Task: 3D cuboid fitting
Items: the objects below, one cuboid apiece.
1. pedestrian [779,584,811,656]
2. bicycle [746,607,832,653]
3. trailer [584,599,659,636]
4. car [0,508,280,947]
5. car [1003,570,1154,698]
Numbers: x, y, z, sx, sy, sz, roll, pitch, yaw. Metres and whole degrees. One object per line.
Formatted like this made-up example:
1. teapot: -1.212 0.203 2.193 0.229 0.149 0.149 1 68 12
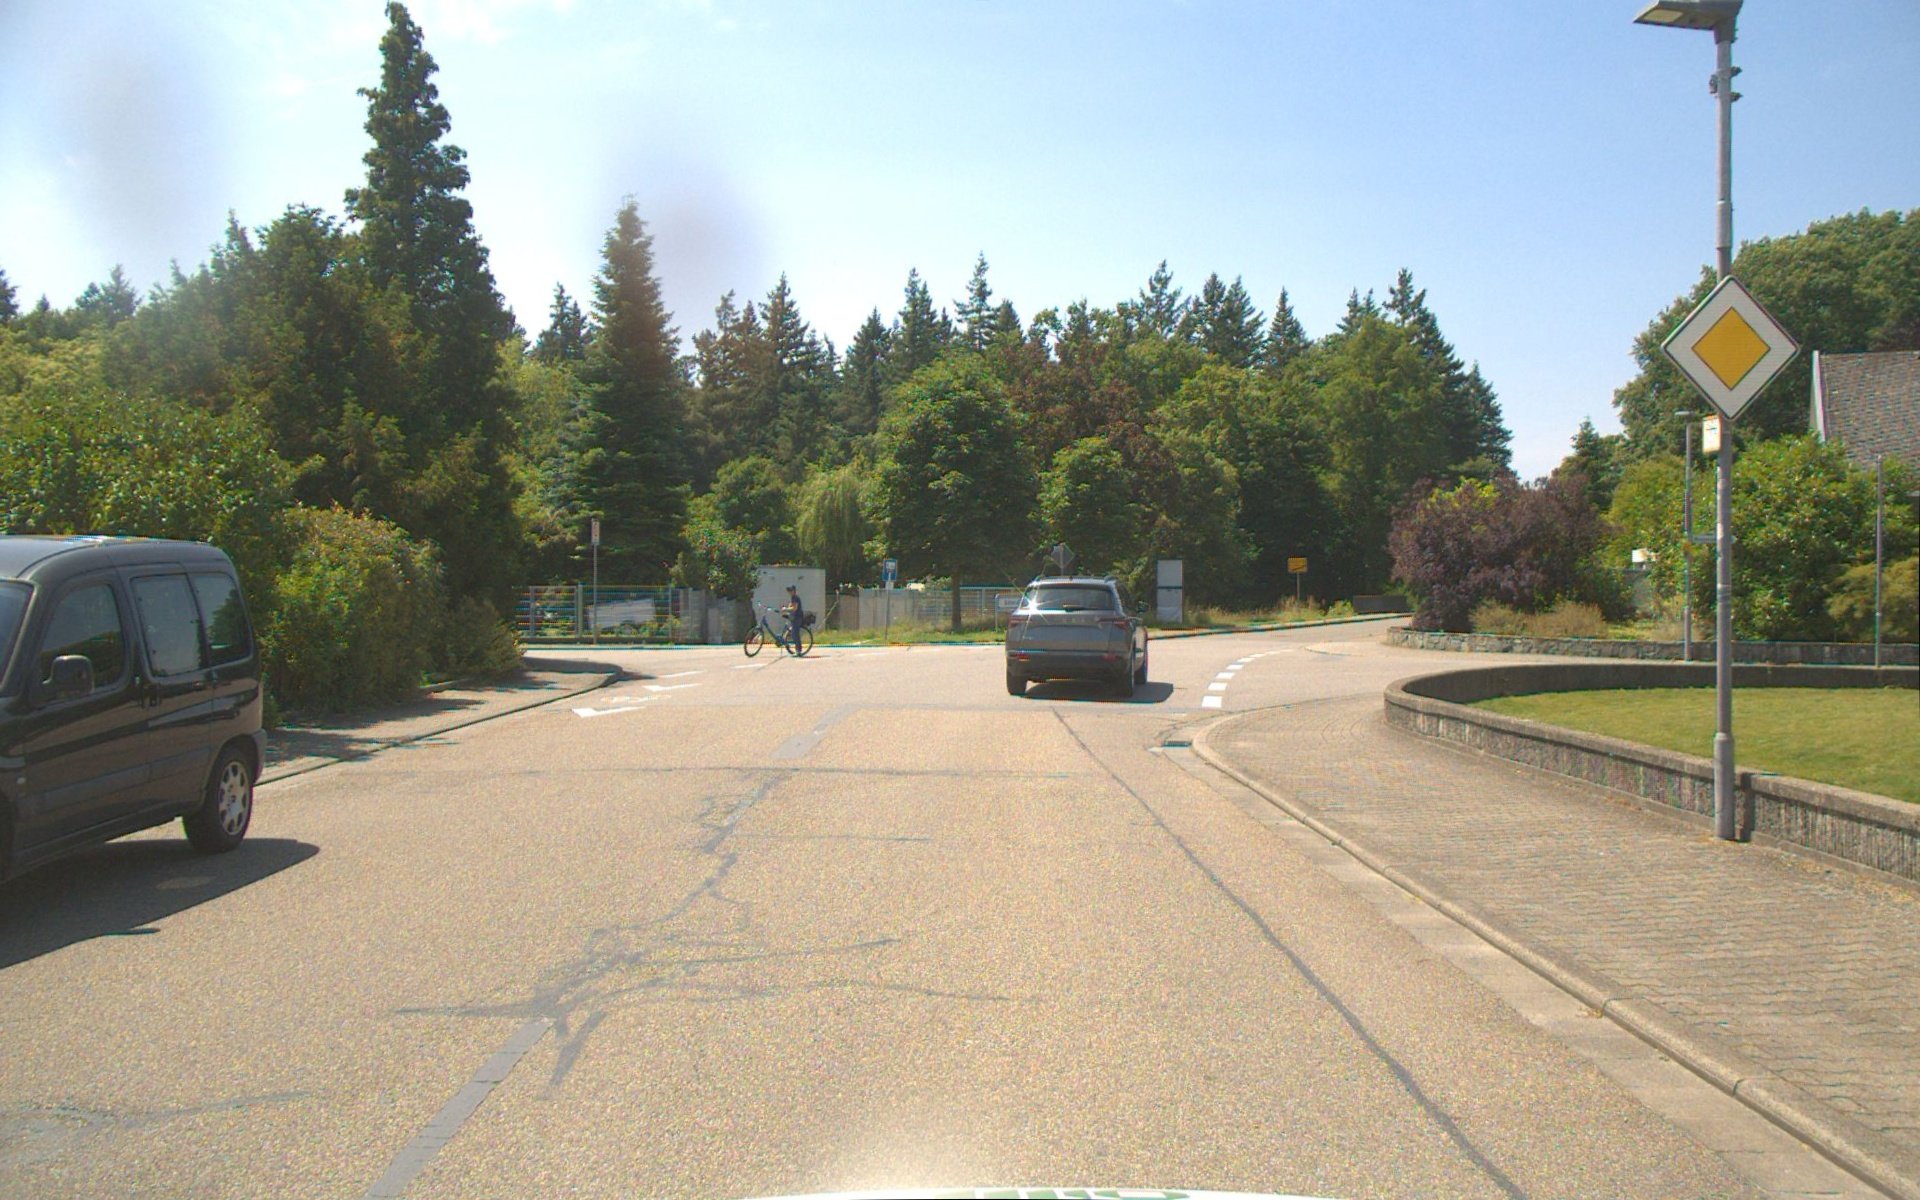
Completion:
1. pedestrian: -3.574 0.427 35.783 0.600 1.527 0.502 0 0 -19
2. bicycle: -3.741 0.650 36.156 1.815 0.980 0.441 0 0 -20
3. trailer: -10.377 0.521 50.770 2.174 1.103 1.104 0 0 -9
4. car: -4.980 0.538 8.146 1.683 1.878 4.053 0 0 -2
5. car: 1.790 0.448 23.874 1.725 1.646 4.003 1 0 10
